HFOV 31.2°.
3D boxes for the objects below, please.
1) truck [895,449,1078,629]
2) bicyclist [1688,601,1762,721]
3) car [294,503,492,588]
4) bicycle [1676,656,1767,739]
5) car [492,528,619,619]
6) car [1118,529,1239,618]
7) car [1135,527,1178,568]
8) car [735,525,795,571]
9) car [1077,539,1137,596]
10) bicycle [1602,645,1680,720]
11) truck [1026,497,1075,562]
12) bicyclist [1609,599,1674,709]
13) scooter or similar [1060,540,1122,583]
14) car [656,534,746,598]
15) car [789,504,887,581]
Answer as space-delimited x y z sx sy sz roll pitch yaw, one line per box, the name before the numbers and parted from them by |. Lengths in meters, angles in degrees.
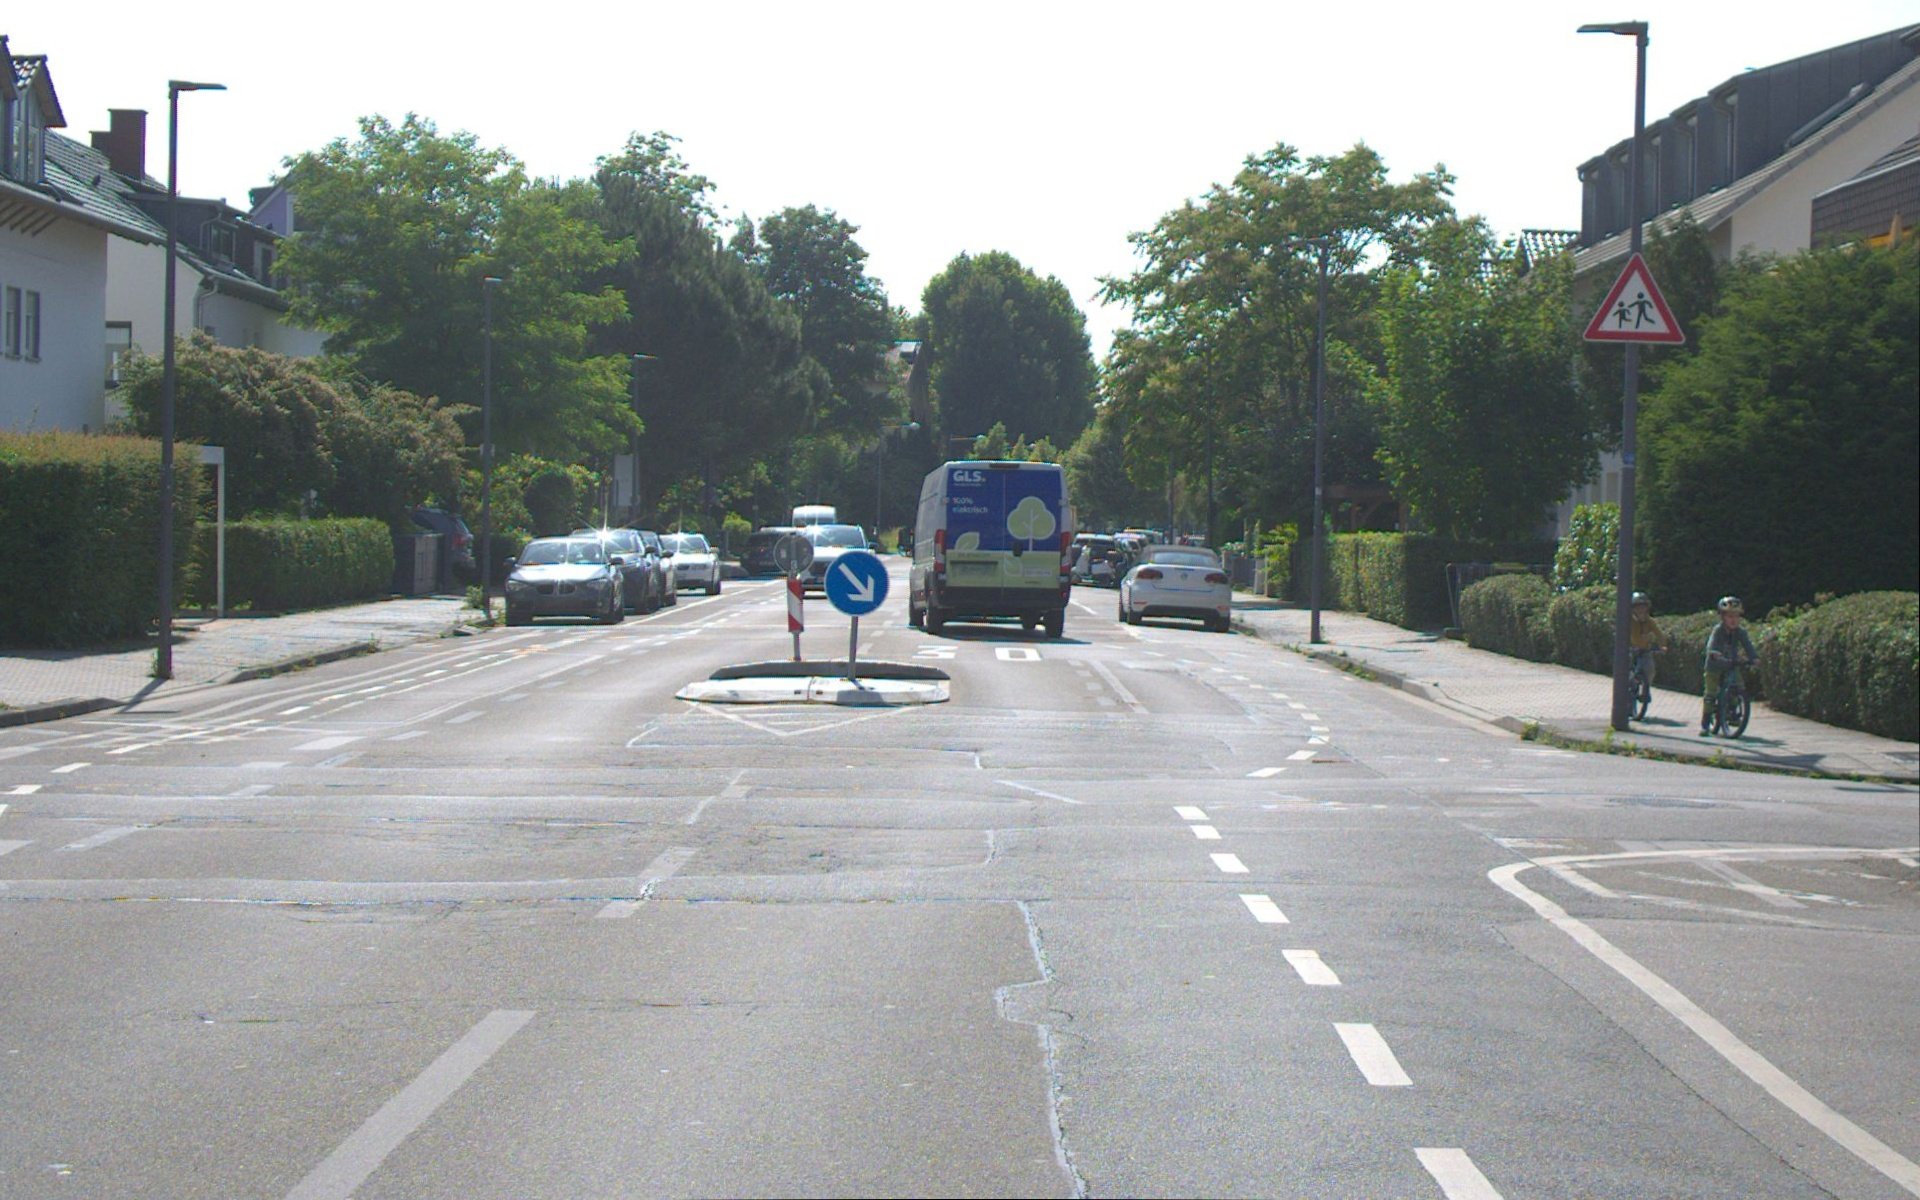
truck | 0.350 -0.921 52.022 2.272 2.562 4.393 1 1 -6
bicyclist | 6.118 0.482 27.508 0.401 0.926 0.658 1 1 -2
car | -12.461 -1.218 75.690 3.987 1.753 2.000 1 2 1
bicycle | 6.090 0.772 27.537 0.401 0.597 1.174 1 1 -3
car | -6.638 -0.466 56.758 1.785 1.435 4.155 0 1 -3
car | 3.784 -0.486 60.061 1.740 1.397 4.074 2 2 -1
car | 8.148 -2.183 142.455 1.700 1.671 3.775 1 1 3
car | -6.448 -1.739 113.973 1.781 1.455 4.086 1 1 -1
car | 4.624 -1.036 108.283 1.785 1.632 4.470 2 2 2
bicycle | 5.935 0.712 29.986 0.401 0.597 1.151 1 1 -2
truck | 4.222 -3.305 161.394 2.214 2.936 5.686 1 1 1
bicyclist | 5.930 0.468 29.930 0.398 0.930 0.609 1 1 -2
scooter or similar | 4.023 -1.191 105.344 0.718 1.150 1.796 4 2 -45
car | -5.997 -0.805 79.985 1.785 1.435 4.000 1 1 0
car | -2.696 -1.284 76.962 1.915 1.661 4.506 0 1 1
